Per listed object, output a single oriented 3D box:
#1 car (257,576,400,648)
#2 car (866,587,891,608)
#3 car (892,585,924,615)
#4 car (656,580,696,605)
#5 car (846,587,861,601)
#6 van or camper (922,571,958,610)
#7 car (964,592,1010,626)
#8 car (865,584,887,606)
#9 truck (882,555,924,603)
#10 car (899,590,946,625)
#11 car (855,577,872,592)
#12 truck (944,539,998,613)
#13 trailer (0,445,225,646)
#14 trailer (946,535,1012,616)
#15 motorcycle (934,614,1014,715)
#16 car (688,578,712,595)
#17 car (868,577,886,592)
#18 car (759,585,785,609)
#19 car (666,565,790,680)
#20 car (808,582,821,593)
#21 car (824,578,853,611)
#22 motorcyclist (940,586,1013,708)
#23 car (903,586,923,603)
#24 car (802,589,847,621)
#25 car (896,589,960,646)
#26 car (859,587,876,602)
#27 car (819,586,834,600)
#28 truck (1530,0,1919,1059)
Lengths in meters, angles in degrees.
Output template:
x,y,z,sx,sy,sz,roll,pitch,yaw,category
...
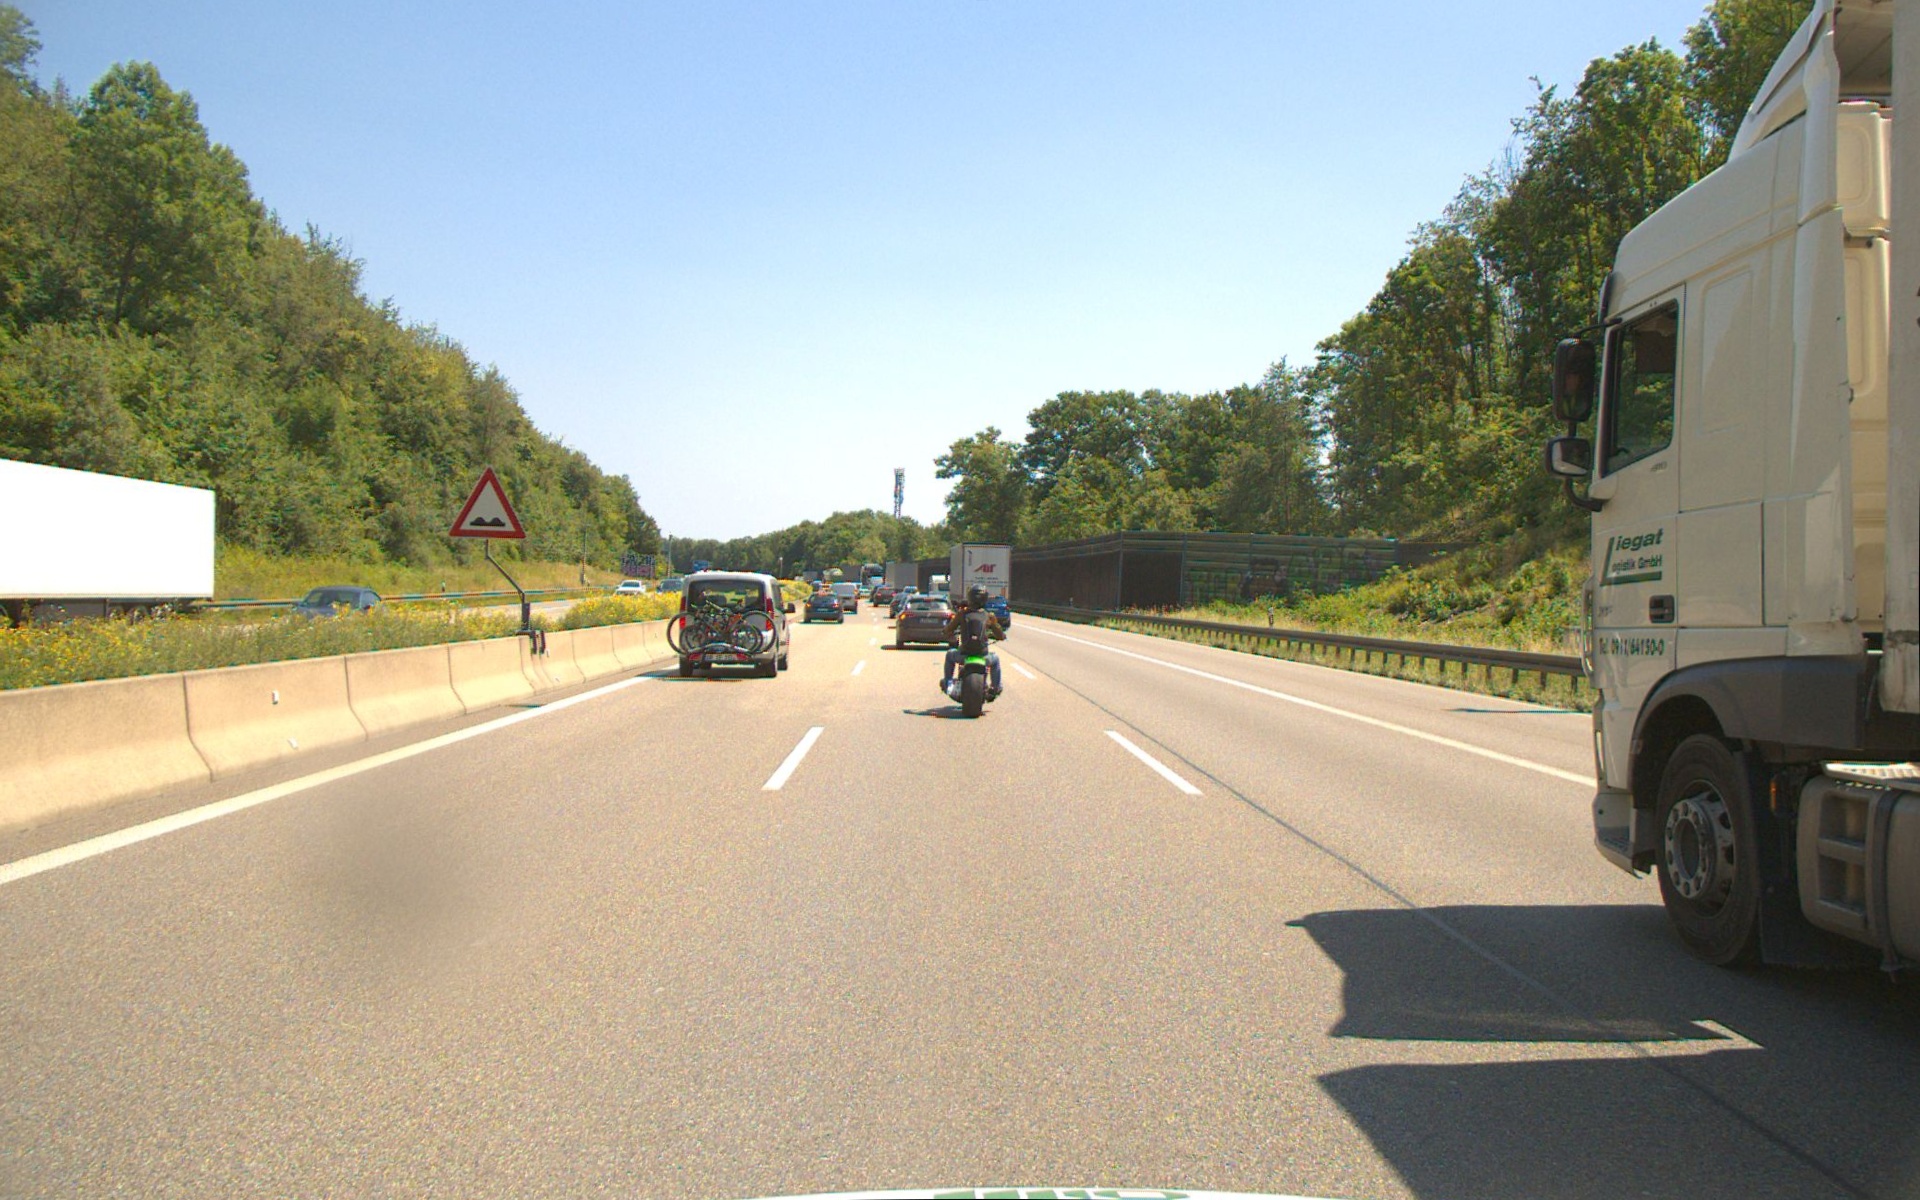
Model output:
x,y,z,sx,sy,sz,roll,pitch,yaw,category
-15.165,0.299,39.931,1.953,1.599,3.999,1,-1,-1,car
-6.622,-0.204,134.103,1.954,1.669,3.997,1,-1,-4,car
-2.885,0.025,92.719,1.743,1.579,3.583,1,-1,-2,car
-18.346,-0.450,106.879,1.953,1.512,3.998,1,-1,-2,car
-12.768,-0.731,198.517,1.796,1.522,3.740,1,-1,-4,car
-1.591,-0.679,129.262,2.631,2.862,6.799,1,-1,-2,van or camper
1.211,0.433,76.753,1.618,1.508,4.476,1,-1,-6,car
-8.072,-0.458,158.791,1.874,2.049,3.686,1,-1,-5,car
-6.347,-2.229,182.156,3.730,5.046,8.936,1,-1,-7,truck
-1.658,0.345,71.390,1.953,1.455,3.845,1,-1,-2,car
-13.156,-2.049,225.534,2.067,1.909,3.994,1,-1,-6,car
0.588,-1.388,98.230,2.828,4.218,5.983,1,0,-3,truck
-22.008,-1.139,39.949,2.660,4.281,13.926,1,-1,-2,trailer
0.917,-1.303,91.408,2.828,4.109,13.788,1,0,-3,trailer
0.188,0.805,21.662,0.945,1.168,2.812,2,0,1,motorcycle
-26.518,-1.361,168.601,1.954,1.645,4.481,1,0,-3,car
-11.047,-2.017,220.208,2.067,1.909,3.994,1,-1,-6,car
-17.043,-0.263,150.134,1.953,2.049,4.419,1,-1,-2,car
-4.147,0.407,30.178,1.861,1.906,4.409,1,-1,-3,car
-20.941,-1.766,237.276,1.797,1.522,3.738,1,-1,-6,car
-7.643,-0.332,104.347,1.756,2.049,3.639,1,-1,-3,car
0.218,0.594,21.398,0.881,1.501,1.872,1,-1,1,motorcyclist
-4.886,-0.547,170.248,1.954,1.601,3.997,1,-1,-3,car
-6.303,0.243,77.081,1.954,1.411,3.997,1,-1,-3,car
-0.936,0.491,46.225,1.629,1.478,3.866,1,-1,-3,car
-9.927,-0.597,177.646,1.796,1.522,3.740,1,-1,-4,car
-15.660,-0.831,194.123,1.796,1.522,3.740,1,-1,-4,car
4.450,-0.655,5.769,2.729,4.278,5.869,1,1,-1,truck
